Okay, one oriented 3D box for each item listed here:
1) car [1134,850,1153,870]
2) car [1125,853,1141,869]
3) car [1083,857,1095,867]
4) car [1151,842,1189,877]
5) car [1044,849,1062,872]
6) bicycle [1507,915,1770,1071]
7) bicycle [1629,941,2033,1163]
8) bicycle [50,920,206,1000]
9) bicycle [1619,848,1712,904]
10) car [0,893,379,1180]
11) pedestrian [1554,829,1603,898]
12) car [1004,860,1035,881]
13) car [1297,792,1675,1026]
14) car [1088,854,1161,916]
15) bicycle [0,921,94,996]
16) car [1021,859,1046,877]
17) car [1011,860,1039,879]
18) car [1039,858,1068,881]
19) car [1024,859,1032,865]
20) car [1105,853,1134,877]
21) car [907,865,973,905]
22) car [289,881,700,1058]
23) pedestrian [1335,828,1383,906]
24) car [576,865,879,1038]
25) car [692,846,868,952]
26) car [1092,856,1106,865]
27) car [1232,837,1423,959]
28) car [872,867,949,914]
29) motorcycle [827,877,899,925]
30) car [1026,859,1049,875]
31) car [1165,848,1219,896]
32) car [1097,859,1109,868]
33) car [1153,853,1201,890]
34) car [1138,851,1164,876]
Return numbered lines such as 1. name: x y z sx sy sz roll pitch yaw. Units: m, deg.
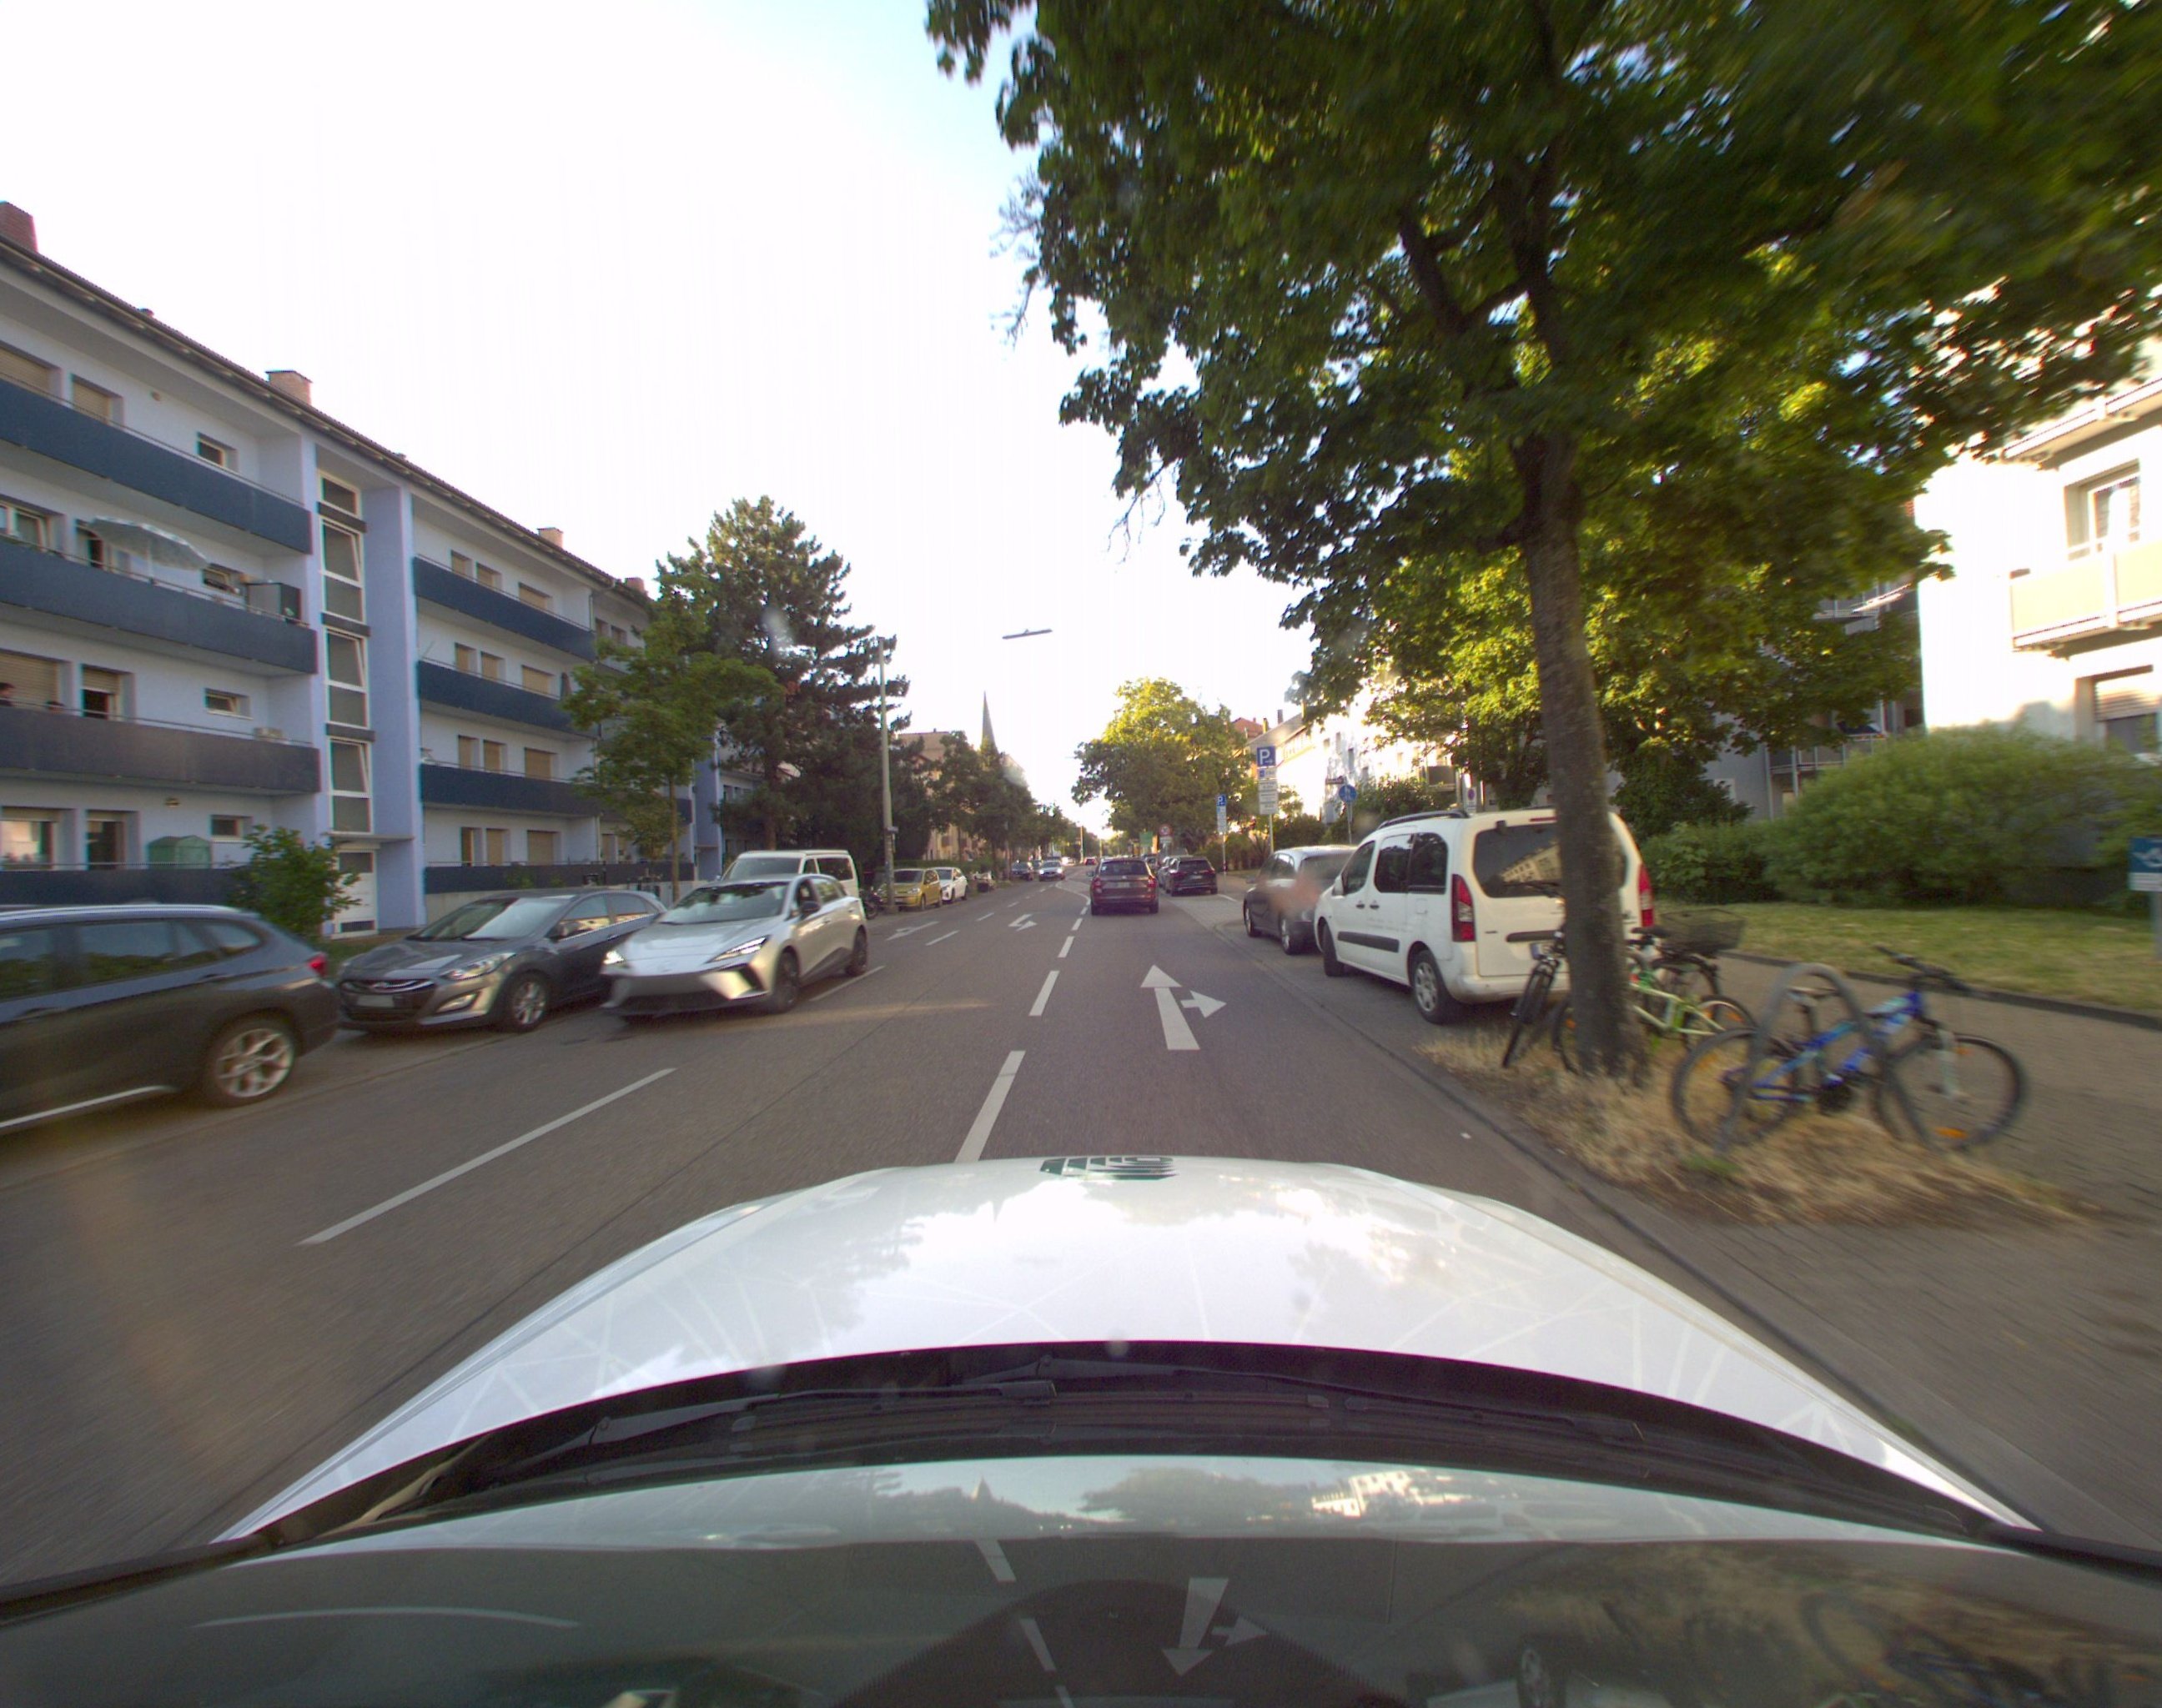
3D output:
1. car: 6.063 0.564 79.439 1.746 1.806 4.004 -1 0 4
2. car: 6.130 0.835 96.366 1.747 1.806 4.003 -1 0 3
3. car: 1.545 1.588 160.400 1.989 1.750 3.995 -3 0 -3
4. car: 5.161 0.308 47.846 1.908 1.860 5.638 -3 0 4
5. car: -3.527 0.852 103.321 1.984 2.781 5.505 -1 0 1
6. bicycle: 3.716 0.902 5.453 1.551 0.869 0.392 -3 0 -7
7. bicycle: 3.513 0.907 3.861 1.548 0.869 0.393 -3 0 -2
8. bicycle: -14.584 1.592 12.527 0.436 1.014 1.575 -4 0 4
9. bicycle: 10.648 0.383 14.901 0.473 0.944 1.681 -3 0 2
10. car: -7.101 1.152 4.872 1.665 1.543 4.478 -3 0 4
11. pedestrian: 12.702 0.243 20.790 0.748 1.721 0.792 -3 -1 -39
12. car: -4.644 1.227 62.059 1.773 1.480 4.038 -1 0 4
13. car: 3.777 0.431 8.625 1.794 1.808 4.423 -1 0 0
14. car: 1.185 0.757 21.805 1.746 1.492 4.004 -1 0 4
15. bicycle: -16.157 1.594 12.361 0.436 1.014 1.483 -4 0 4
16. car: -4.303 1.259 74.579 1.773 1.480 3.975 -1 0 4
17. car: -4.652 1.308 68.143 1.773 1.480 3.975 -1 0 4
18. car: -1.993 1.128 60.019 1.733 1.479 4.311 -6 0 2
19. car: -15.047 2.233 231.079 1.991 1.750 3.992 -3 0 -5
20. car: 2.580 0.762 55.669 1.885 1.506 3.791 1 -1 2
21. car: -5.802 1.239 33.954 1.773 1.494 3.975 -1 0 4
22. car: -6.588 1.176 9.847 1.685 1.483 4.148 -3 0 4
23. pedestrian: 6.913 0.309 20.317 0.746 1.861 1.068 -3 0 1
24. car: -3.986 0.991 10.023 1.774 1.494 3.972 -5 0 2
25. car: -6.600 0.889 18.637 1.862 2.031 5.302 -2 0 1
26. car: 4.119 1.444 182.747 1.998 1.750 3.978 -3 0 -16
27. car: 3.806 0.610 13.385 1.749 1.556 4.251 -4 0 0
28. car: -5.987 1.240 29.026 1.611 1.480 3.876 -1 0 4
29. motorcycle: -6.293 1.342 23.698 0.653 1.204 2.345 -4 0 23
30. car: -4.232 1.225 80.281 1.773 1.480 3.975 -1 0 4
31. car: 4.251 0.648 31.629 1.746 1.686 4.256 -1 0 4
32. car: 3.513 1.572 133.037 1.776 1.480 3.969 -1 0 -1
33. car: 4.357 0.755 37.507 1.748 1.557 4.105 -1 0 1
34. car: 5.114 0.682 59.819 1.746 1.715 4.004 -1 0 4
